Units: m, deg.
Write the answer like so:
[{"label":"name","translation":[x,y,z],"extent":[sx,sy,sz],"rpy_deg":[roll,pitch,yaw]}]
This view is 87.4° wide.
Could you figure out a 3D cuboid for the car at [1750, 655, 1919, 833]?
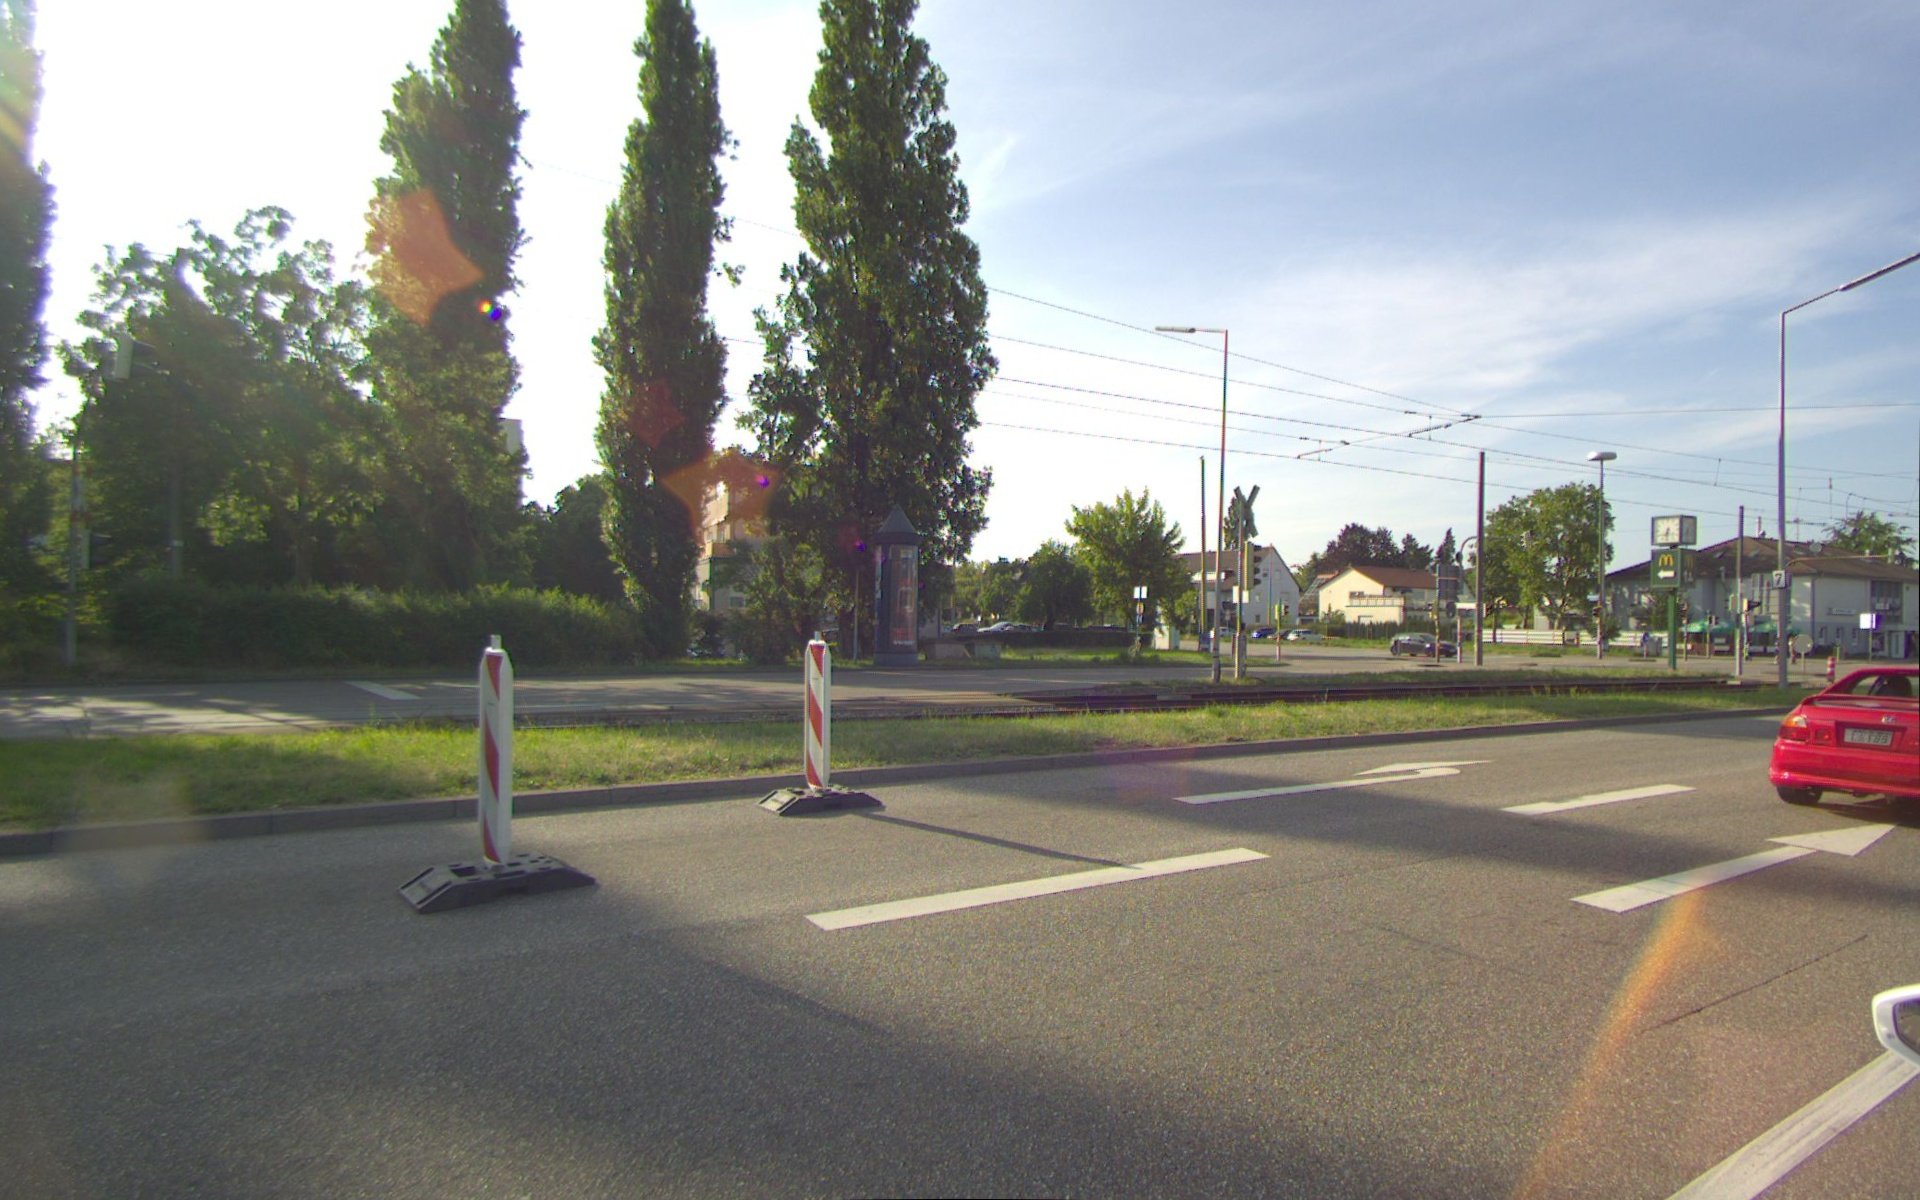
[{"label":"car","translation":[8.610,1.153,8.622],"extent":[3.805,1.222,1.721],"rpy_deg":[2,0,-33]}]

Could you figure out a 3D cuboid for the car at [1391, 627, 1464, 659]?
[{"label":"car","translation":[28.507,2.605,61.393],"extent":[1.501,1.816,3.971],"rpy_deg":[2,-1,-28]}]

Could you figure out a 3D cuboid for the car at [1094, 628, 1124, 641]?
[{"label":"car","translation":[18.179,4.158,122.512],"extent":[1.970,1.505,3.981],"rpy_deg":[1,-1,-21]}]

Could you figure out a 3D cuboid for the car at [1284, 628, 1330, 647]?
[{"label":"car","translation":[35.414,3.831,102.607],"extent":[4.161,1.706,1.988],"rpy_deg":[3,0,-24]}]

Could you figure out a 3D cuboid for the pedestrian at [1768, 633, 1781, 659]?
[{"label":"pedestrian","translation":[50.721,2.862,62.519],"extent":[0.534,1.620,0.508],"rpy_deg":[2,-1,-36]}]
